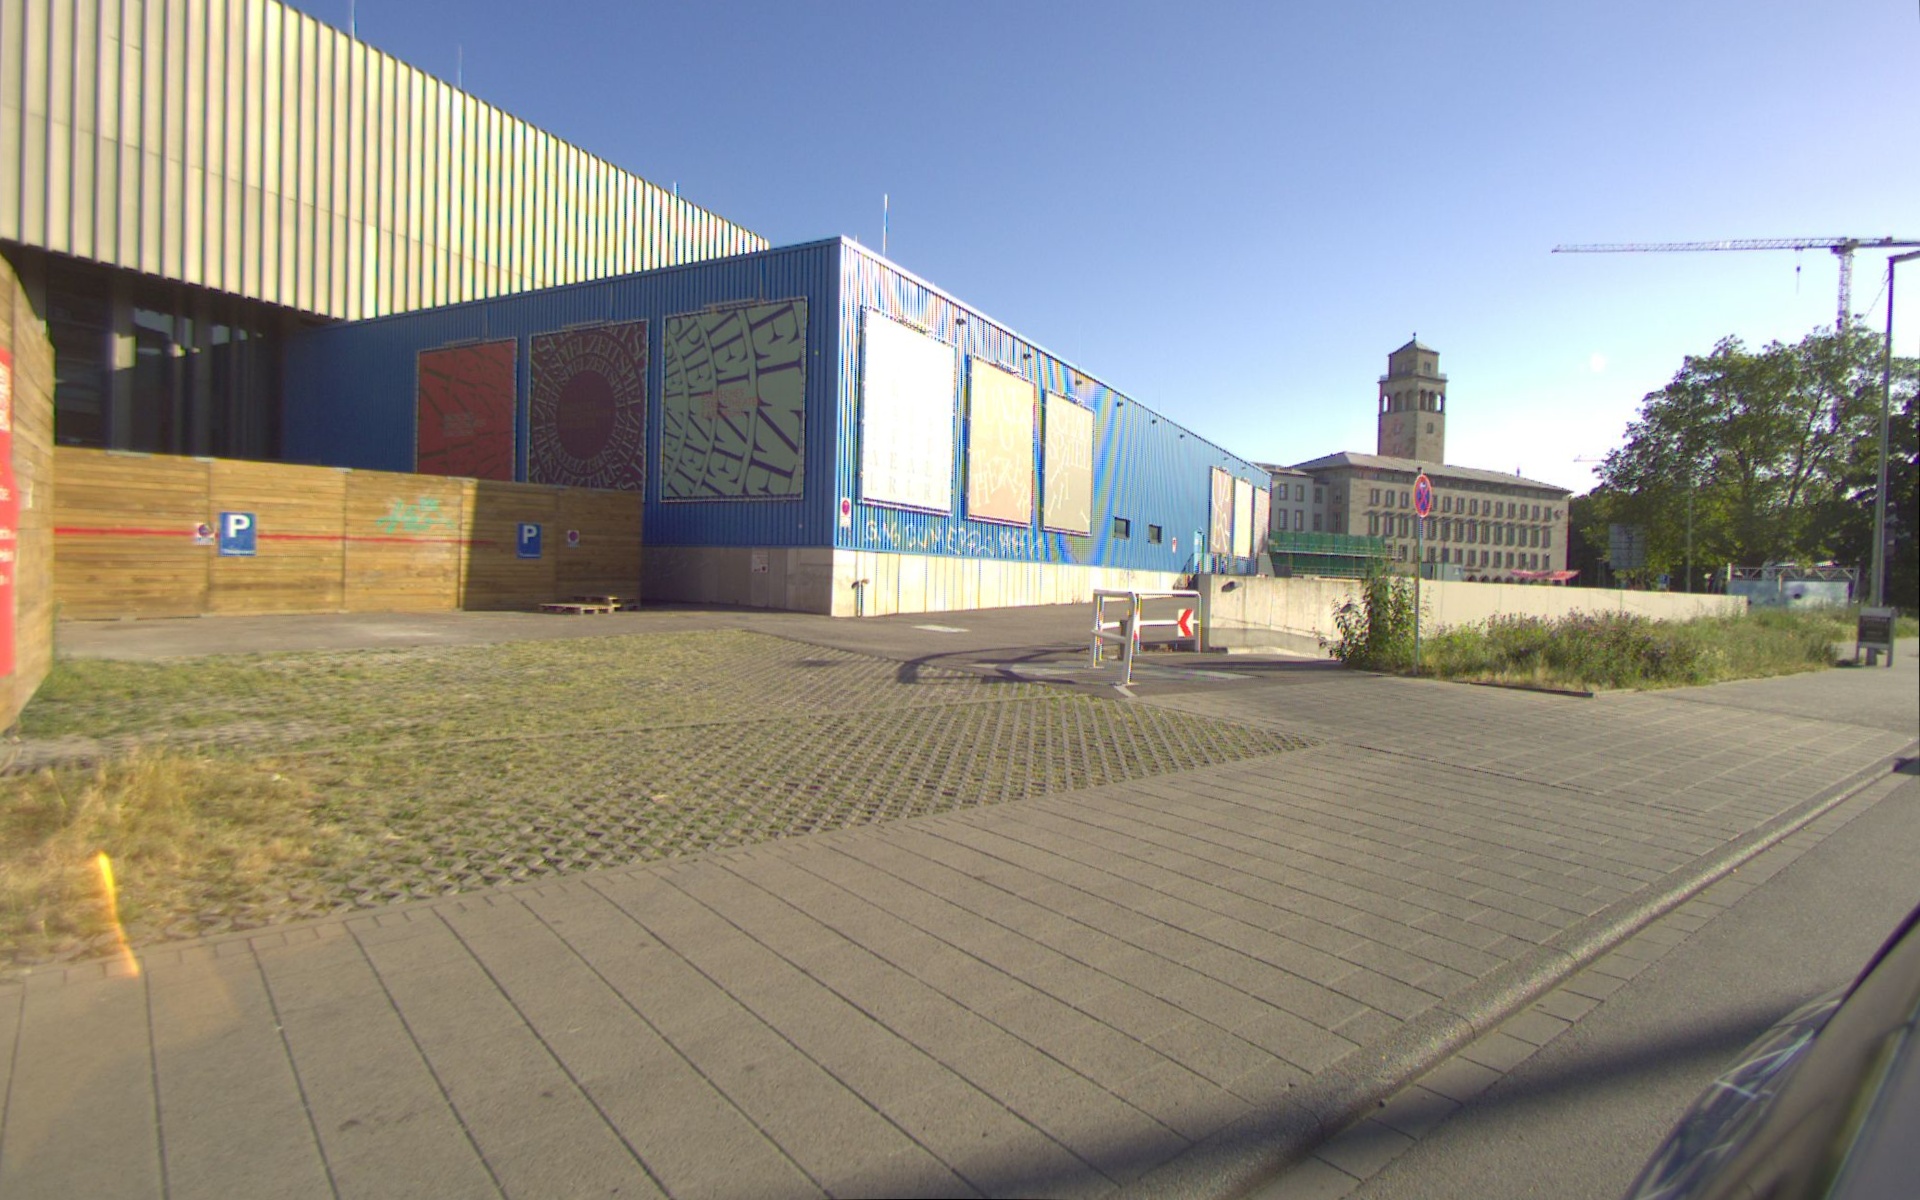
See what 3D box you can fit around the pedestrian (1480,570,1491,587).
[{"bbox_3d":[42.367,-1.714,81.588,0.432,1.312,0.574,-1,0,-19],"label":"pedestrian"}]
